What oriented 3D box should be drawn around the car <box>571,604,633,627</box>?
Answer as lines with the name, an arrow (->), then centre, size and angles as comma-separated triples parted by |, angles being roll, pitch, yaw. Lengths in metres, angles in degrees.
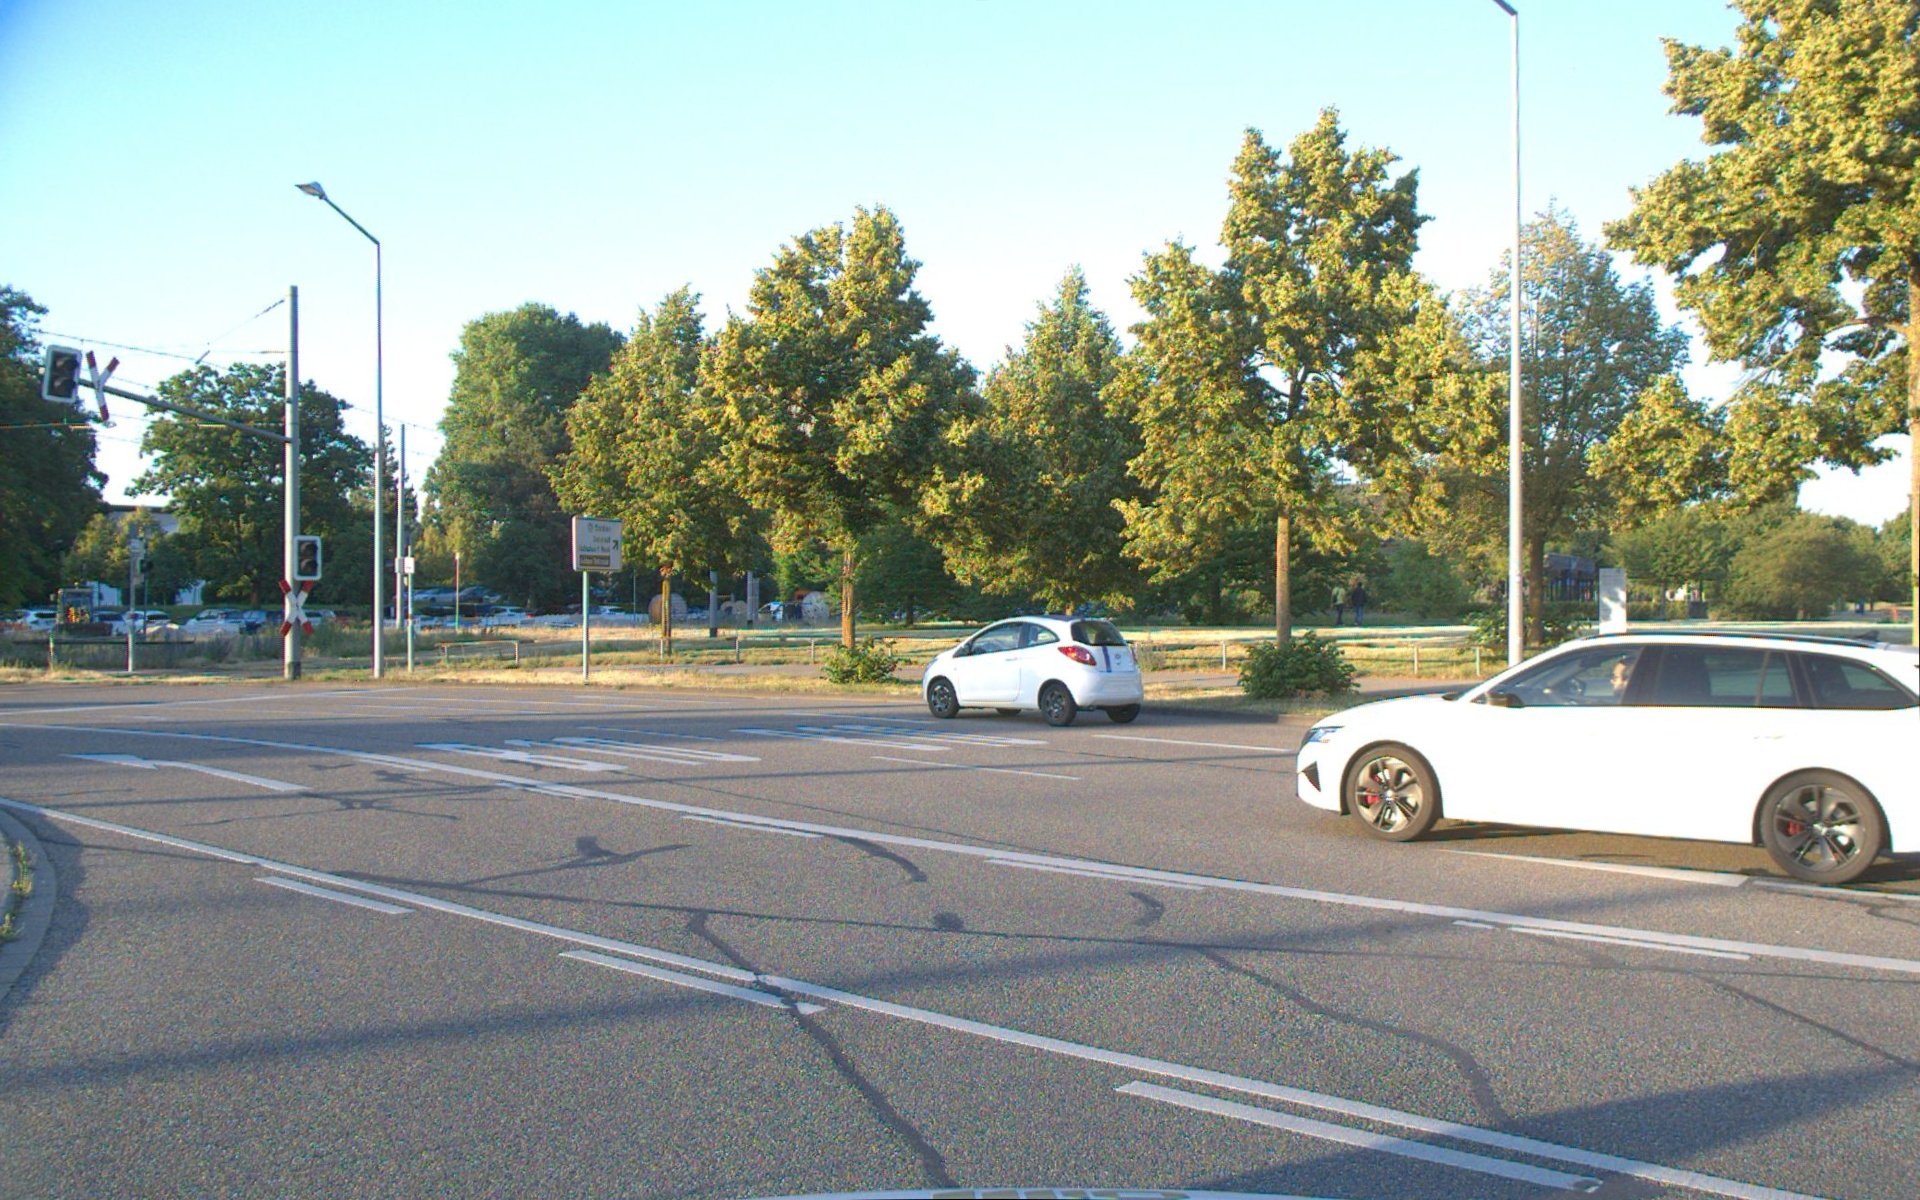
car -> -24.964, 1.069, 115.306 | 3.913, 1.578, 1.996 | 0, 0, 30

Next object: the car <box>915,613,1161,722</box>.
car -> 1.085, 0.924, 23.959 | 3.427, 1.468, 1.543 | 0, -1, 44

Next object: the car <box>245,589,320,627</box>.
car -> -38.344, 0.442, 93.570 | 3.914, 2.135, 1.995 | 0, 0, 32

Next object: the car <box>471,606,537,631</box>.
car -> -29.618, 1.213, 107.345 | 3.913, 1.578, 1.996 | 0, 0, 30

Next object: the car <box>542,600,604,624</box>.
car -> -26.637, 0.809, 113.787 | 3.913, 1.578, 1.996 | 0, 0, 30

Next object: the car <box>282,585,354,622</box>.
car -> -37.308, 0.201, 96.129 | 3.914, 2.135, 1.995 | 0, 0, 32

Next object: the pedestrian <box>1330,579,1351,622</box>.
pedestrian -> 14.540, 0.021, 63.164 | 0.573, 1.655, 0.527 | 0, 0, -32

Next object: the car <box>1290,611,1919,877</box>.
car -> 4.633, 0.835, 11.063 | 4.455, 1.474, 1.722 | 0, 1, 34

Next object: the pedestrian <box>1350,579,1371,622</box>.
pedestrian -> 15.255, 0.022, 63.020 | 0.612, 1.655, 0.525 | 0, 0, -31

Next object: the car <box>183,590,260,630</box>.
car -> -40.427, 0.516, 90.568 | 3.914, 2.135, 1.995 | 0, 0, 32
